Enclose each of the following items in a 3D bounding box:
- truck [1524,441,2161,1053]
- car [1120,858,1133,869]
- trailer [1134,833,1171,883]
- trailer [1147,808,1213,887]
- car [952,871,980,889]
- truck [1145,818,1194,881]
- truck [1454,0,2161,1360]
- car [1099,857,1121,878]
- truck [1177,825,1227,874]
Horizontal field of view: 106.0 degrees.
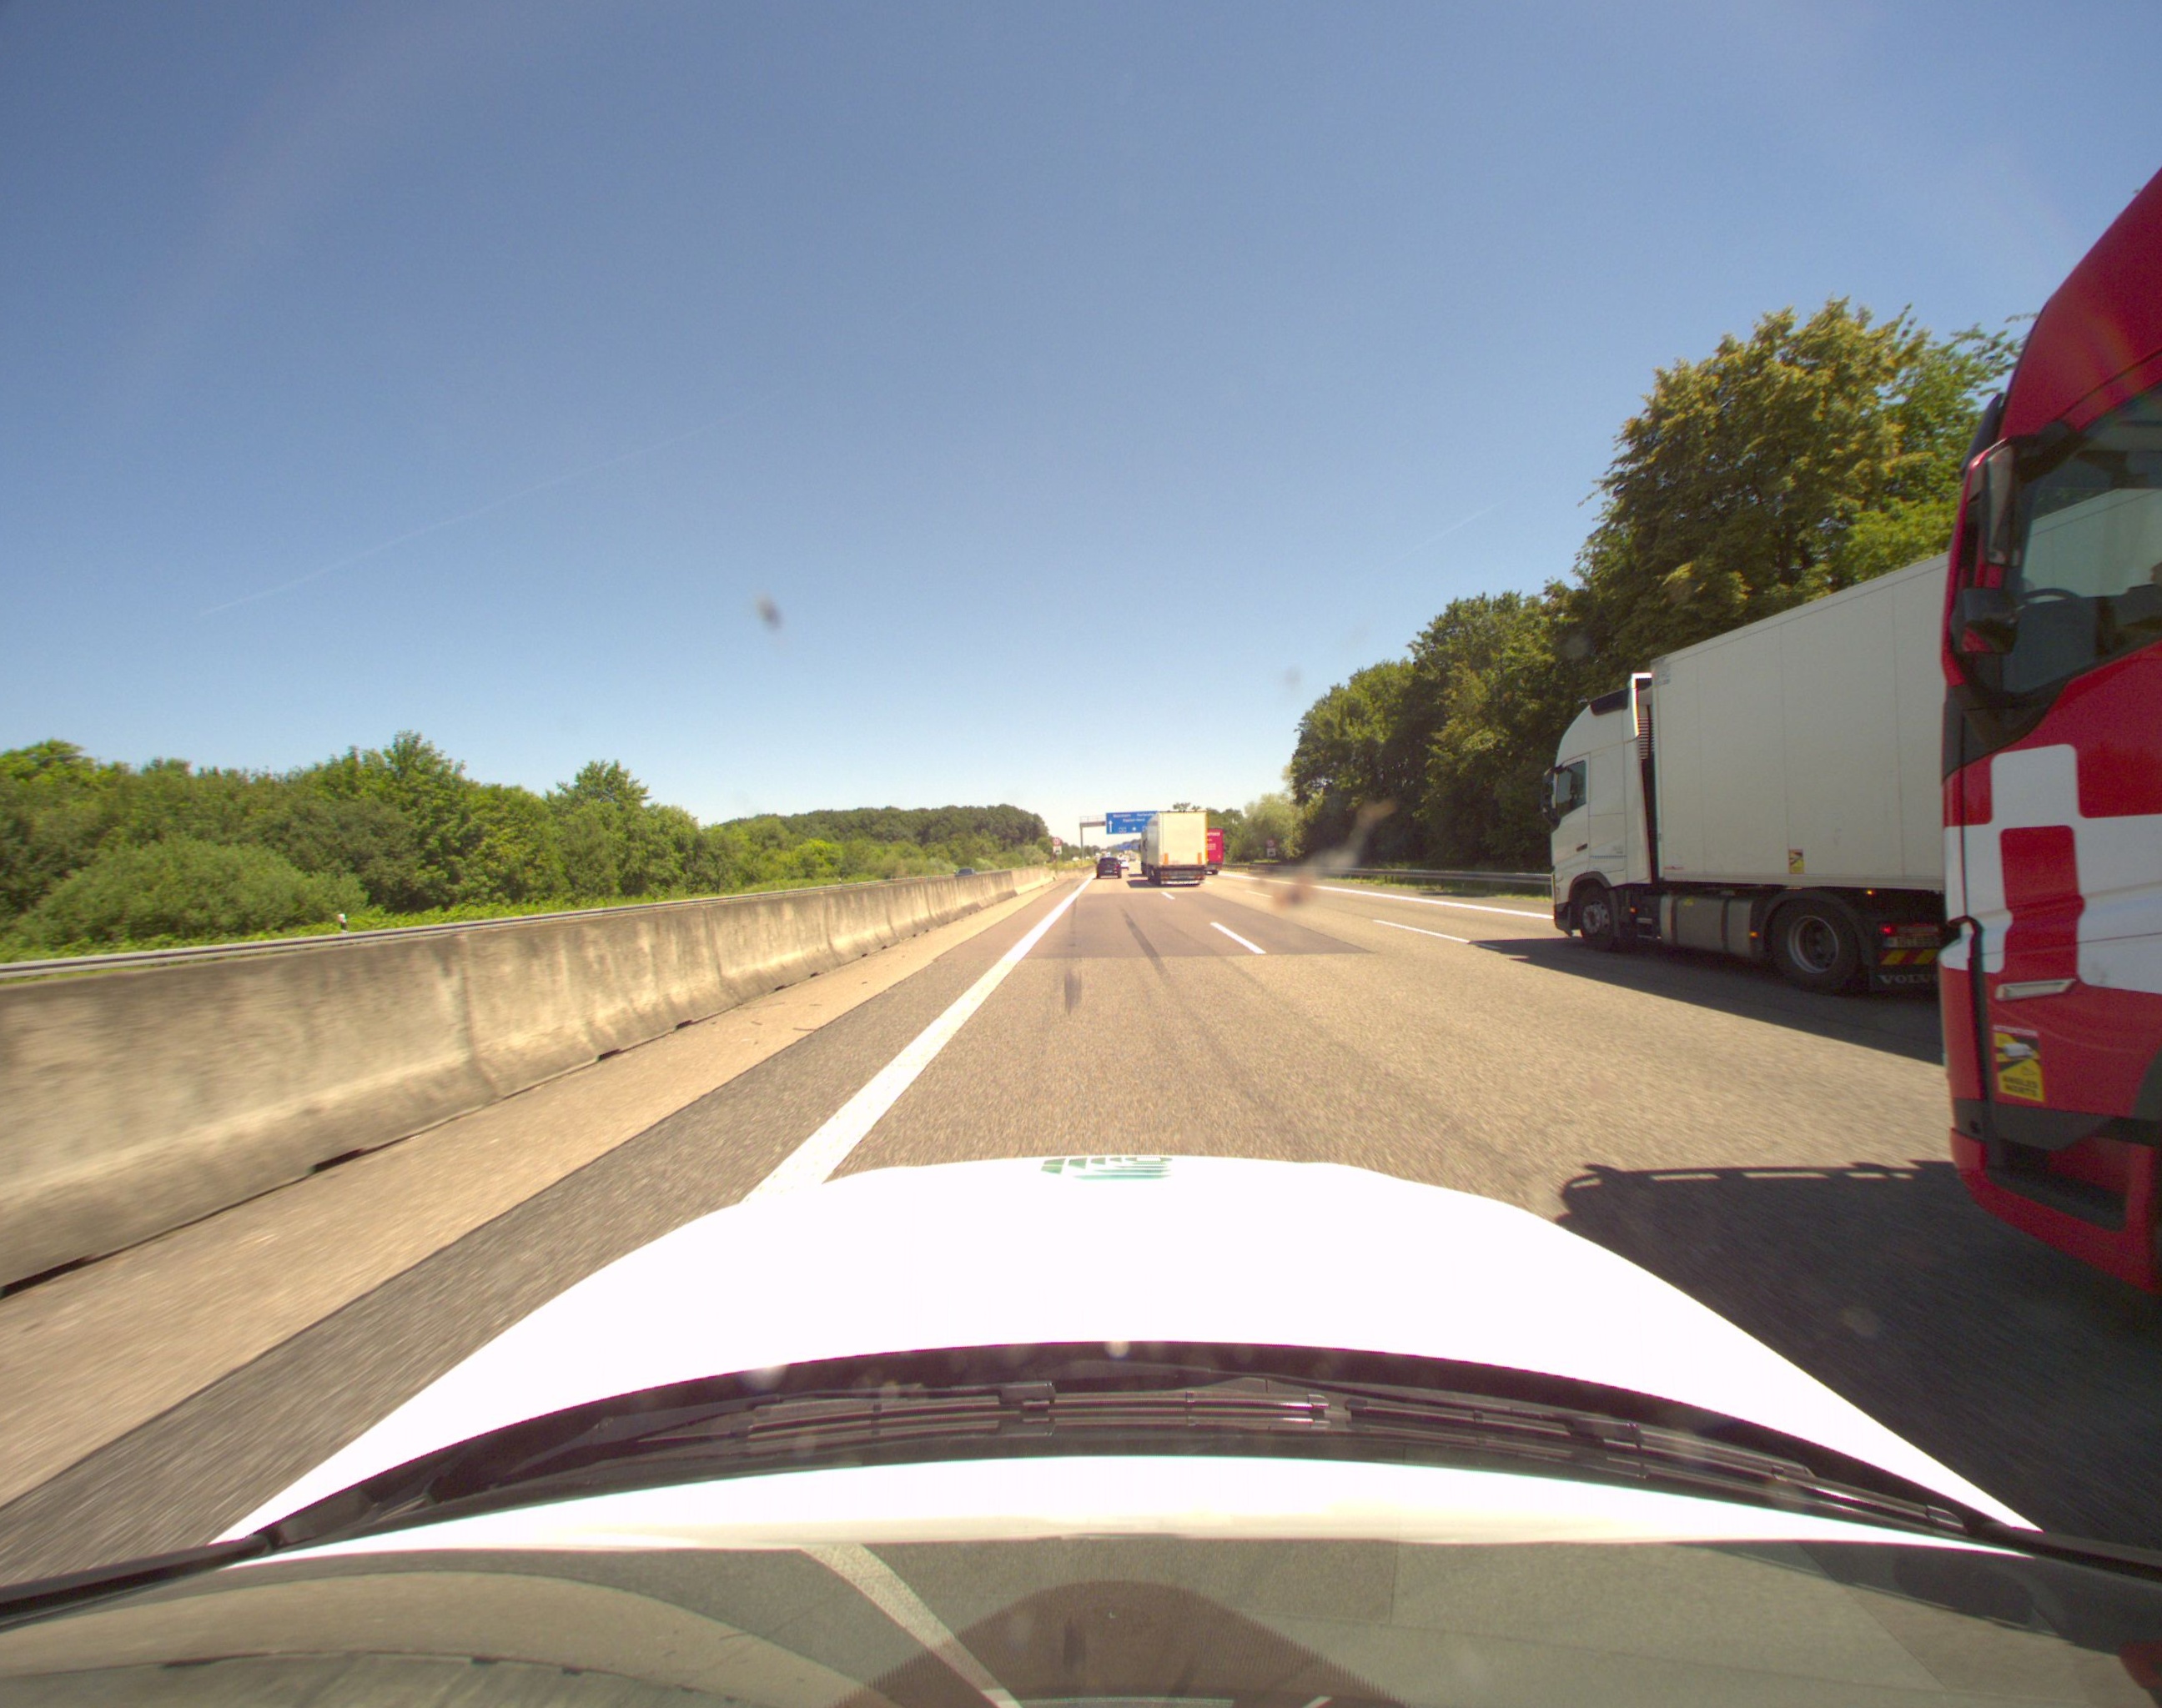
[{"bbox_3d":[8.893,-0.709,8.444,3.013,4.092,10.984,-1,-1,3],"label":"truck"},{"bbox_3d":[6.221,1.266,112.556,1.733,1.486,4.003,-1,0,3],"label":"car"},{"bbox_3d":[6.352,0.463,74.260,2.697,4.068,14.755,-1,-1,3],"label":"trailer"},{"bbox_3d":[5.629,-0.298,48.411,2.784,4.035,12.573,-1,0,2],"label":"trailer"},{"bbox_3d":[-10.608,2.416,75.347,1.763,1.471,4.002,-3,-1,2],"label":"car"},{"bbox_3d":[5.908,-0.254,55.399,2.789,4.007,6.023,-1,0,2],"label":"truck"},{"bbox_3d":[4.392,-0.638,3.410,2.930,3.986,6.103,-1,-1,1],"label":"truck"},{"bbox_3d":[2.259,1.036,64.077,1.654,1.549,3.784,-1,0,1],"label":"car"},{"bbox_3d":[11.165,-0.343,76.427,3.044,4.106,13.221,-1,-1,1],"label":"truck"}]
